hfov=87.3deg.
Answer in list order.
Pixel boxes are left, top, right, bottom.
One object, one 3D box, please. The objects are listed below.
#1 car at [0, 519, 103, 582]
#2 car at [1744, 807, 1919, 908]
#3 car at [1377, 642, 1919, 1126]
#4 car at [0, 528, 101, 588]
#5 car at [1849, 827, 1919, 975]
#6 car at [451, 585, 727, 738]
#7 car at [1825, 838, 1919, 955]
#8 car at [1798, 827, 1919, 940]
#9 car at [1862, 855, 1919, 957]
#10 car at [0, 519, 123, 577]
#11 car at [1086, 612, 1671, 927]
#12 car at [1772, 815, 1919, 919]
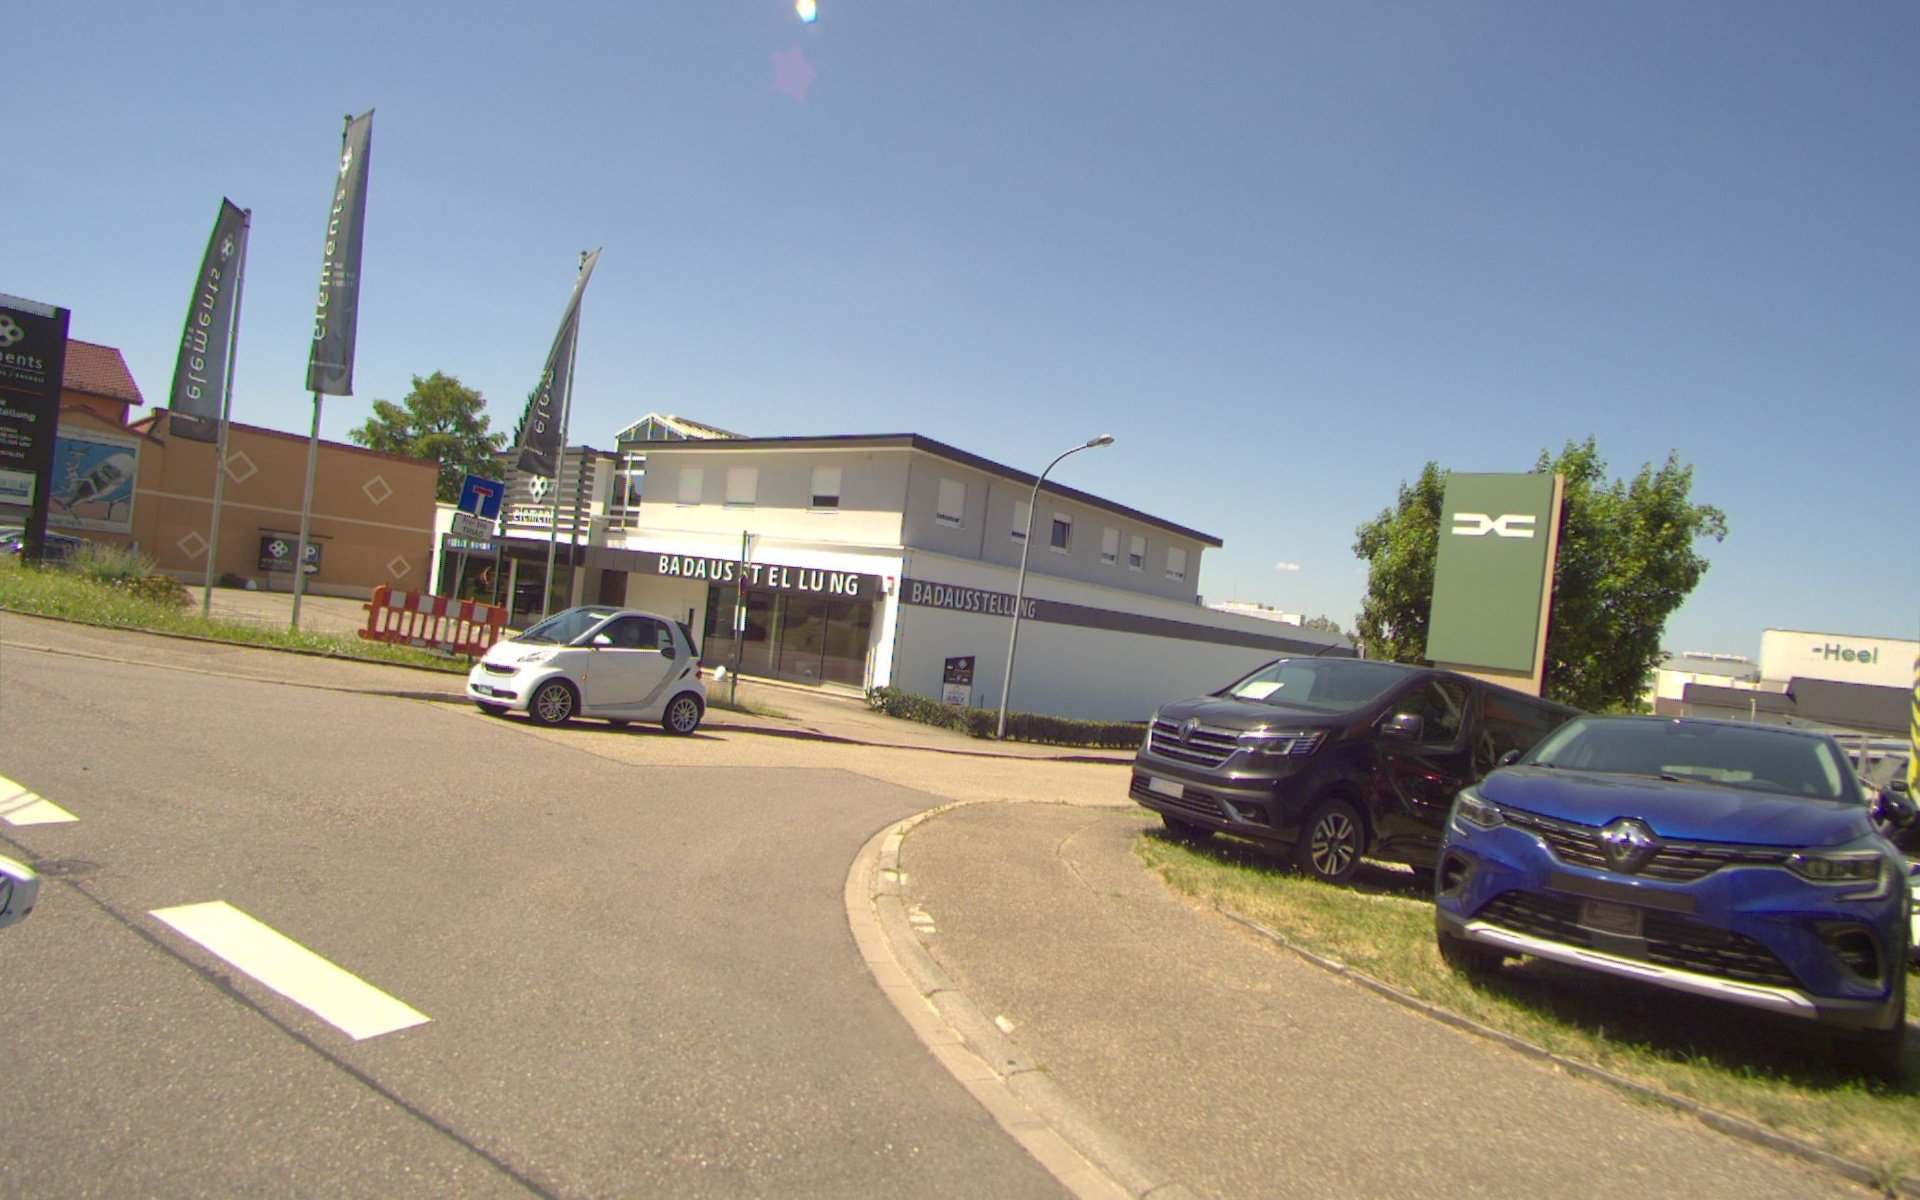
[{"bbox_3d":[-31.259,-1.774,33.047,1.859,1.665,4.278,8,-2,34],"label":"car"},{"bbox_3d":[23.718,6.880,26.912,3.933,1.723,1.873,8,-1,32],"label":"car"},{"bbox_3d":[4.043,1.414,5.546,1.832,1.527,4.073,4,-10,43],"label":"car"},{"bbox_3d":[-28.721,-1.368,30.579,1.673,1.433,3.623,8,-2,38],"label":"car"},{"bbox_3d":[12.805,3.854,11.023,4.071,1.507,1.831,11,-2,27],"label":"car"},{"bbox_3d":[-4.680,0.836,12.936,1.573,1.534,2.772,4,-6,37],"label":"car"},{"bbox_3d":[18.862,5.813,18.585,3.933,1.723,1.873,8,-1,32],"label":"car"},{"bbox_3d":[20.044,6.063,20.666,3.933,1.723,1.873,8,-1,32],"label":"car"},{"bbox_3d":[17.205,5.353,16.336,3.375,1.457,1.741,9,-4,31],"label":"car"},{"bbox_3d":[-34.588,-2.007,37.943,1.862,1.618,4.257,7,-1,39],"label":"car"},{"bbox_3d":[4.014,1.619,9.401,5.225,1.917,1.985,14,-5,-27],"label":"car"},{"bbox_3d":[22.375,6.558,24.267,3.933,1.723,1.873,8,-1,32],"label":"car"}]
